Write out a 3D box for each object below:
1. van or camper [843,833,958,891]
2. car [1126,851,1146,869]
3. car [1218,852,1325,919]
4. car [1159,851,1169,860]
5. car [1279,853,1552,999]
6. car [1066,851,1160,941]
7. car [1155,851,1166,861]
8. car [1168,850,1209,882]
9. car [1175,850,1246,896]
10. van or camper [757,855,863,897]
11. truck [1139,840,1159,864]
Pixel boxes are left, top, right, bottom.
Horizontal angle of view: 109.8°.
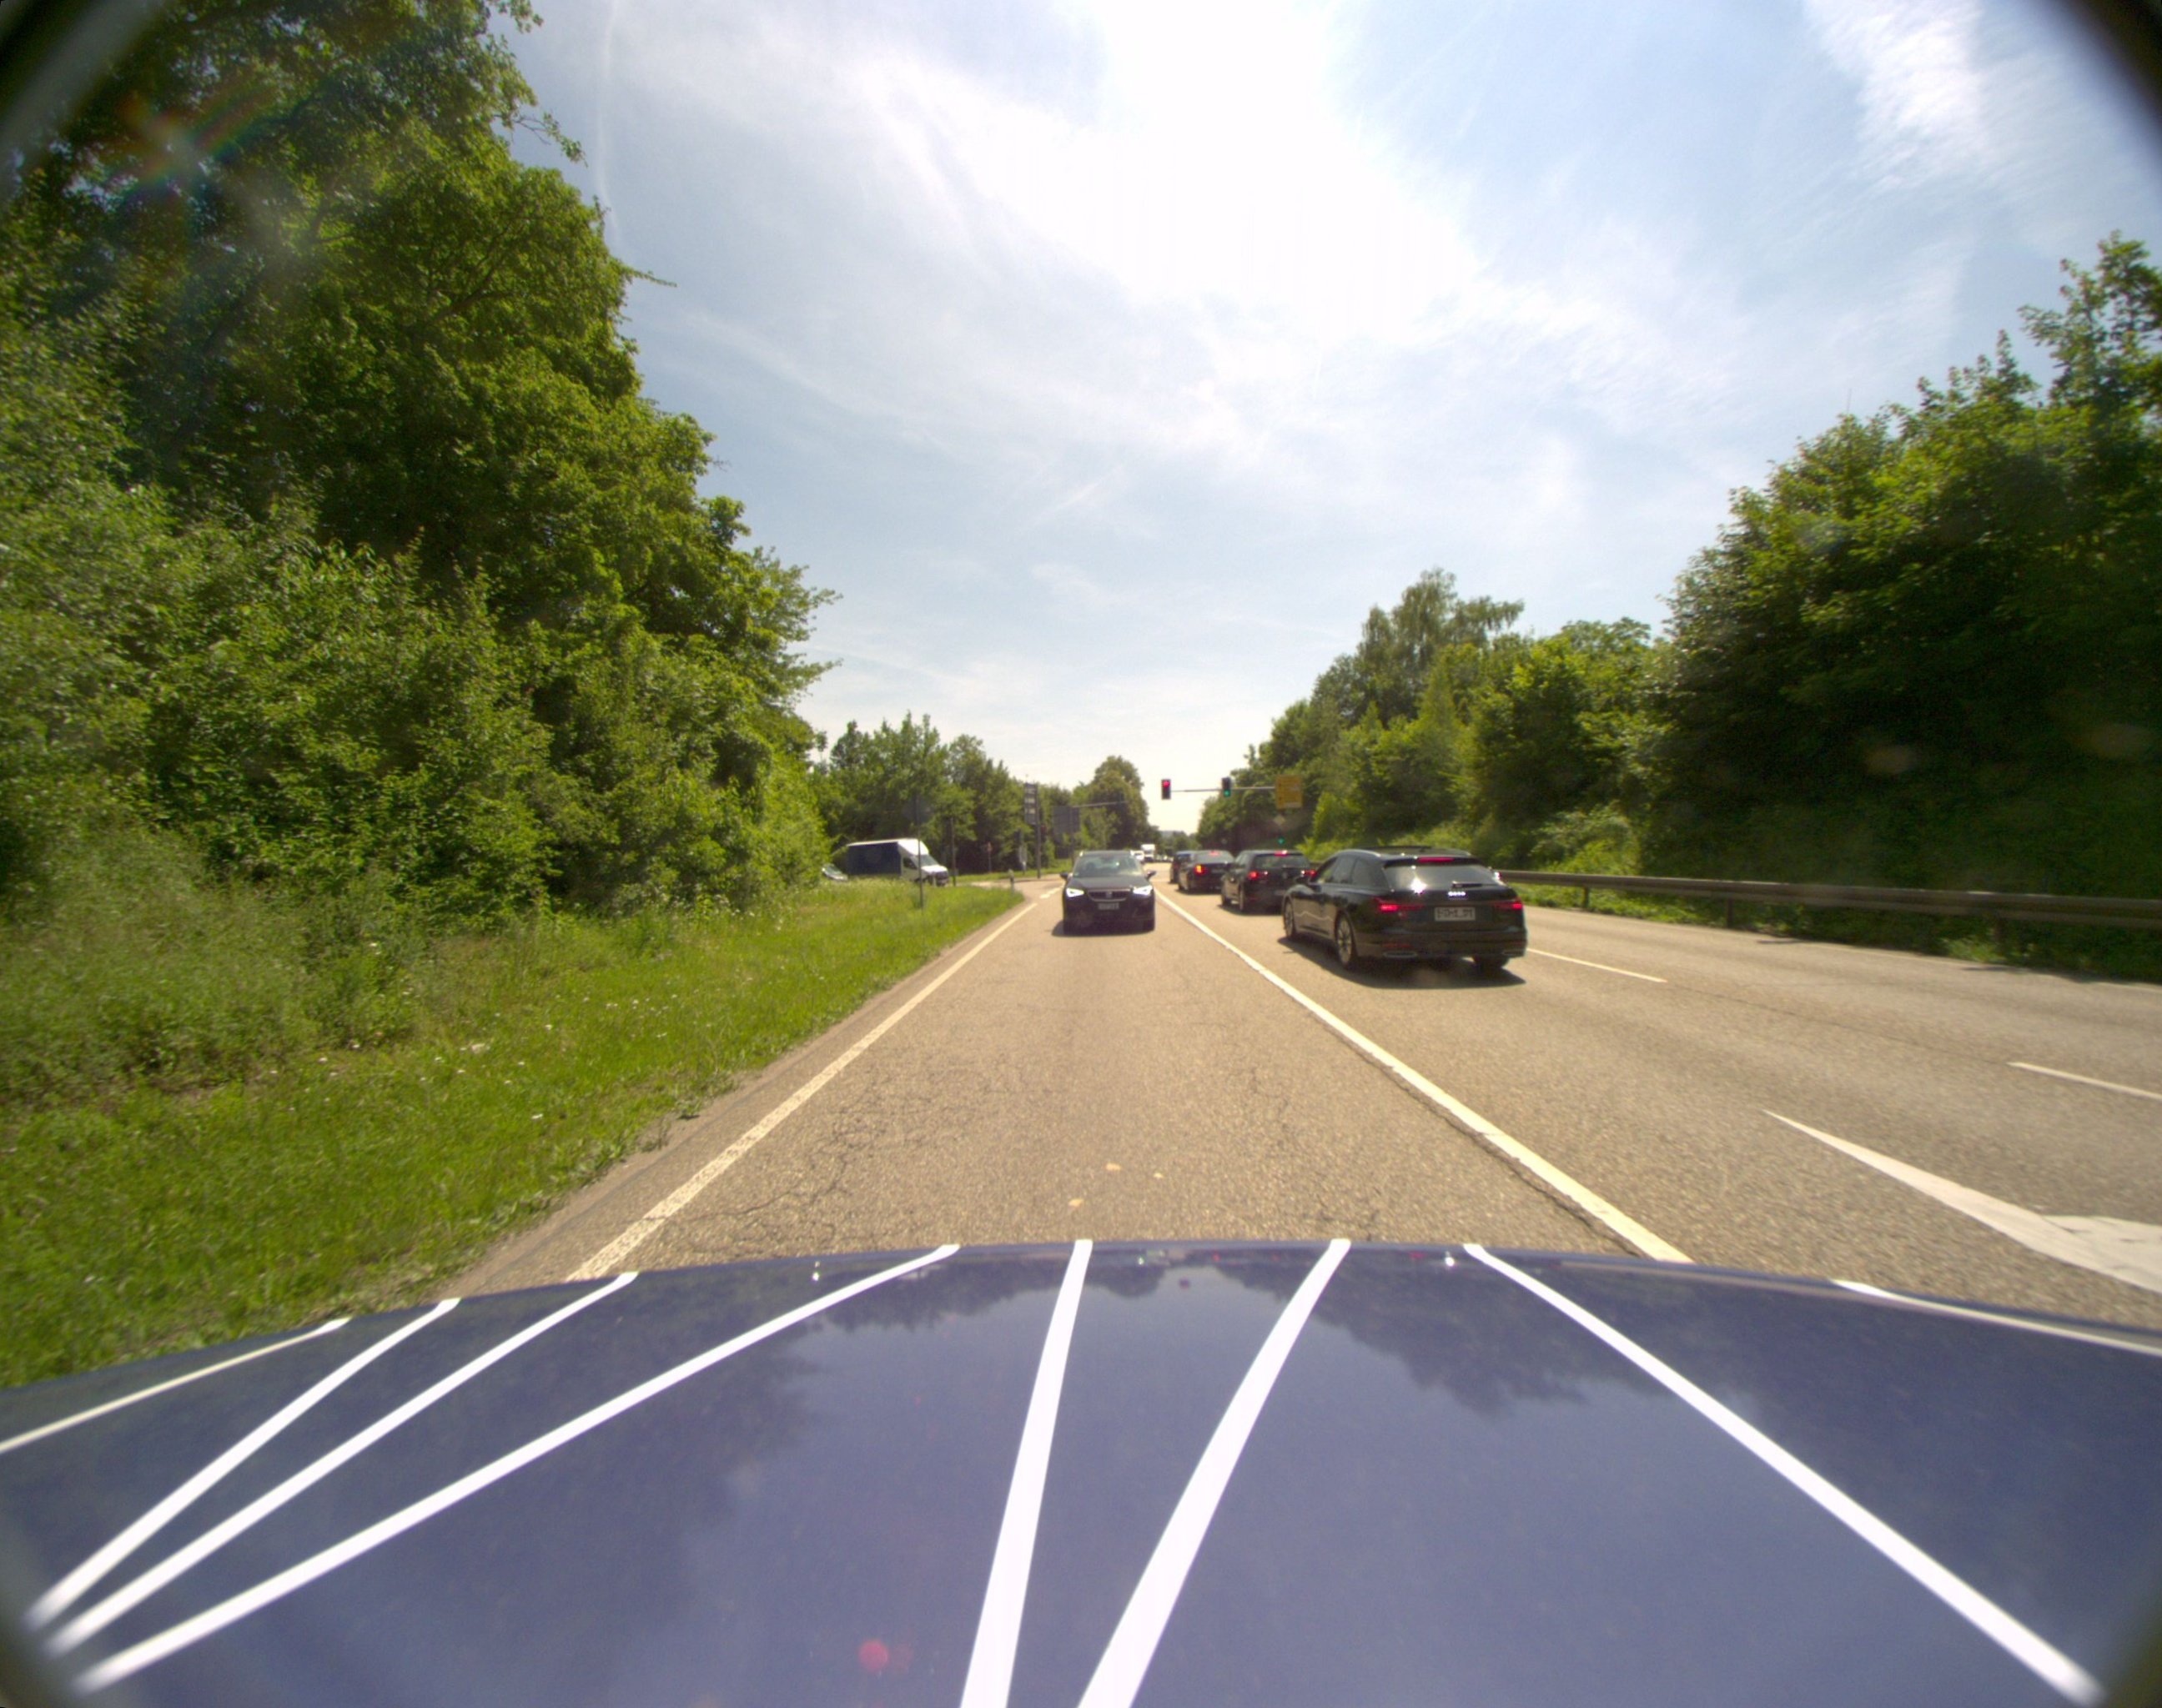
[{"bbox_3d":[-11.328,0.520,47.486,7.236,3.193,2.108,-3,1,29],"label":"van or camper"},{"bbox_3d":[6.936,0.727,95.883,1.997,2.002,4.002,-3,0,10],"label":"car"},{"bbox_3d":[4.486,0.673,18.497,1.685,1.406,4.182,-2,0,2],"label":"car"},{"bbox_3d":[18.019,0.353,164.437,1.997,1.756,4.002,-2,0,7],"label":"car"},{"bbox_3d":[4.043,0.749,10.079,1.808,1.445,4.387,-2,0,2],"label":"car"},{"bbox_3d":[0.662,0.746,15.564,1.626,1.536,4.000,-2,1,3],"label":"car"},{"bbox_3d":[15.328,0.393,147.150,1.997,1.756,4.002,-2,0,7],"label":"car"},{"bbox_3d":[5.022,0.539,35.893,1.570,1.431,3.771,-2,0,3],"label":"car"},{"bbox_3d":[4.526,0.623,27.257,1.786,1.438,4.640,-2,0,1],"label":"car"},{"bbox_3d":[-19.747,1.592,55.345,7.221,2.462,2.413,-5,0,19],"label":"van or camper"},{"bbox_3d":[11.880,-0.379,132.003,2.838,3.795,8.454,-3,1,9],"label":"truck"}]
